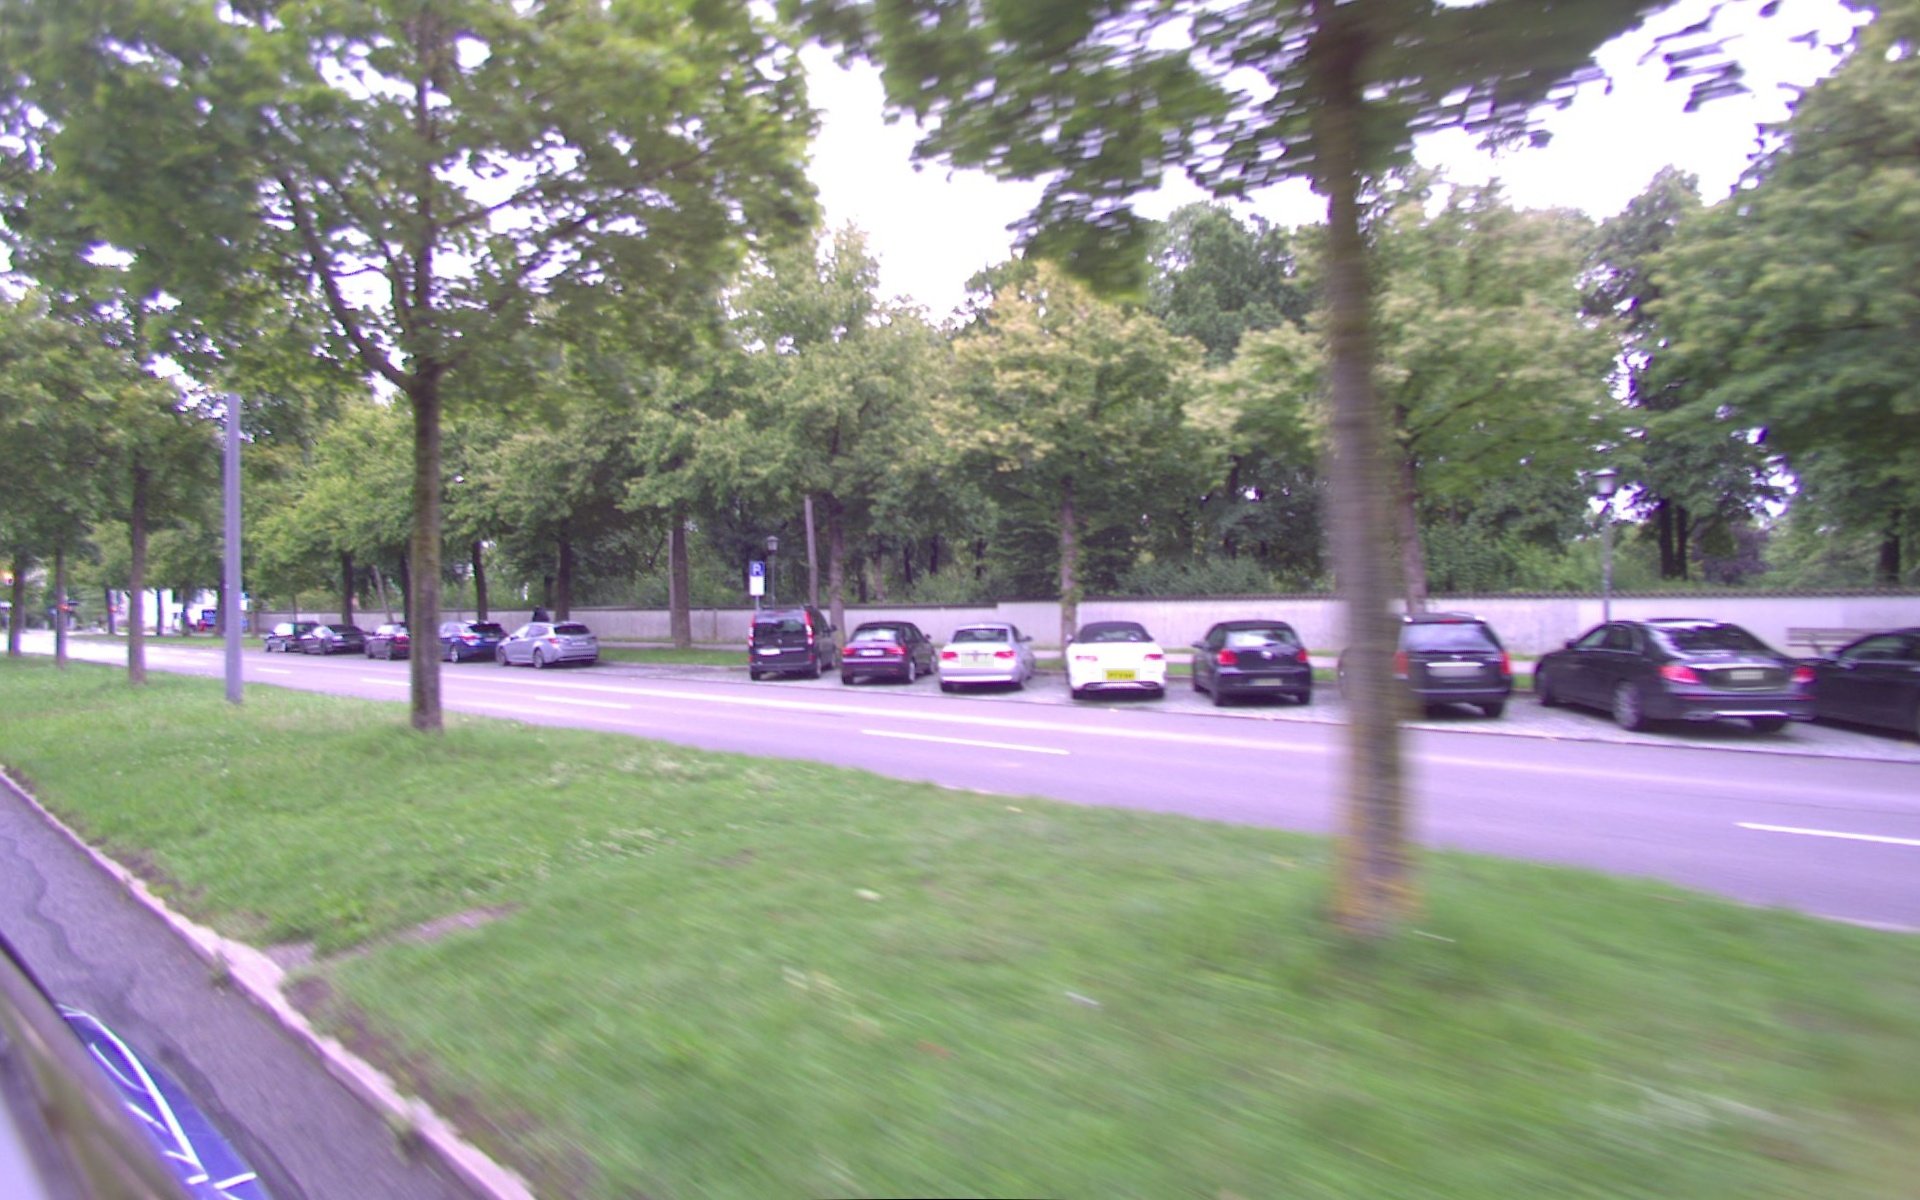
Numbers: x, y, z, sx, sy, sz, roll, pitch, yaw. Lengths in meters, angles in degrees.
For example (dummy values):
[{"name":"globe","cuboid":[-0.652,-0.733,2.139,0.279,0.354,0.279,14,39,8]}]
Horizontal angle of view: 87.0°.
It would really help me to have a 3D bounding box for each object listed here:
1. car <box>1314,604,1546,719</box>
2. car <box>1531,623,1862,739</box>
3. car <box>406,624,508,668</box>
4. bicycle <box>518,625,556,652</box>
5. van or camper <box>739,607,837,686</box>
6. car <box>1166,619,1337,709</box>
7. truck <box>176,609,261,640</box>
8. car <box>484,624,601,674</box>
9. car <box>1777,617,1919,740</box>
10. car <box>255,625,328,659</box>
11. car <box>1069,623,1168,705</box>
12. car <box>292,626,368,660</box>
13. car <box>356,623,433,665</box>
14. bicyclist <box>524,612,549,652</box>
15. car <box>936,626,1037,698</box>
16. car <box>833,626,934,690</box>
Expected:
[{"name":"car","cuboid":[7.323,0.906,16.297,1.893,1.609,4.105,-1,-1,2]},{"name":"car","cuboid":[9.858,1.007,14.046,1.897,1.332,4.192,-1,-1,8]},{"name":"car","cuboid":[-18.508,1.662,37.134,4.795,1.470,1.570,-2,0,40]},{"name":"bicycle","cuboid":[-18.845,1.699,45.064,2.115,1.170,0.705,-1,-1,42]},{"name":"van or camper","cuboid":[-4.390,1.153,26.441,1.825,1.869,4.124,-1,-1,0]},{"name":"car","cuboid":[5.186,1.086,18.651,1.892,1.433,4.240,-1,-1,0]},{"name":"truck","cuboid":[-87.405,2.812,119.469,2.771,3.515,7.715,-2,-1,42]},{"name":"car","cuboid":[-13.597,1.551,32.830,4.808,1.450,1.618,-2,0,43]},{"name":"car","cuboid":[12.186,0.923,12.030,1.897,1.420,4.188,-1,-1,8]},{"name":"car","cuboid":[-33.127,2.051,50.128,4.913,1.501,1.780,-2,0,41]},{"name":"car","cuboid":[3.010,1.180,19.879,1.654,1.392,4.036,-1,-1,6]},{"name":"car","cuboid":[-28.793,1.941,46.204,4.704,1.406,1.642,-2,0,41]},{"name":"car","cuboid":[-22.687,1.724,40.537,1.553,1.514,4.306,-1,0,-45]},{"name":"bicyclist","cuboid":[-18.889,1.409,45.108,0.922,1.760,0.697,-1,-1,41]},{"name":"car","cuboid":[0.664,1.273,21.849,1.828,1.364,3.992,-1,-1,6]},{"name":"car","cuboid":[-1.752,1.335,24.287,1.733,1.364,3.612,-1,-1,7]}]
